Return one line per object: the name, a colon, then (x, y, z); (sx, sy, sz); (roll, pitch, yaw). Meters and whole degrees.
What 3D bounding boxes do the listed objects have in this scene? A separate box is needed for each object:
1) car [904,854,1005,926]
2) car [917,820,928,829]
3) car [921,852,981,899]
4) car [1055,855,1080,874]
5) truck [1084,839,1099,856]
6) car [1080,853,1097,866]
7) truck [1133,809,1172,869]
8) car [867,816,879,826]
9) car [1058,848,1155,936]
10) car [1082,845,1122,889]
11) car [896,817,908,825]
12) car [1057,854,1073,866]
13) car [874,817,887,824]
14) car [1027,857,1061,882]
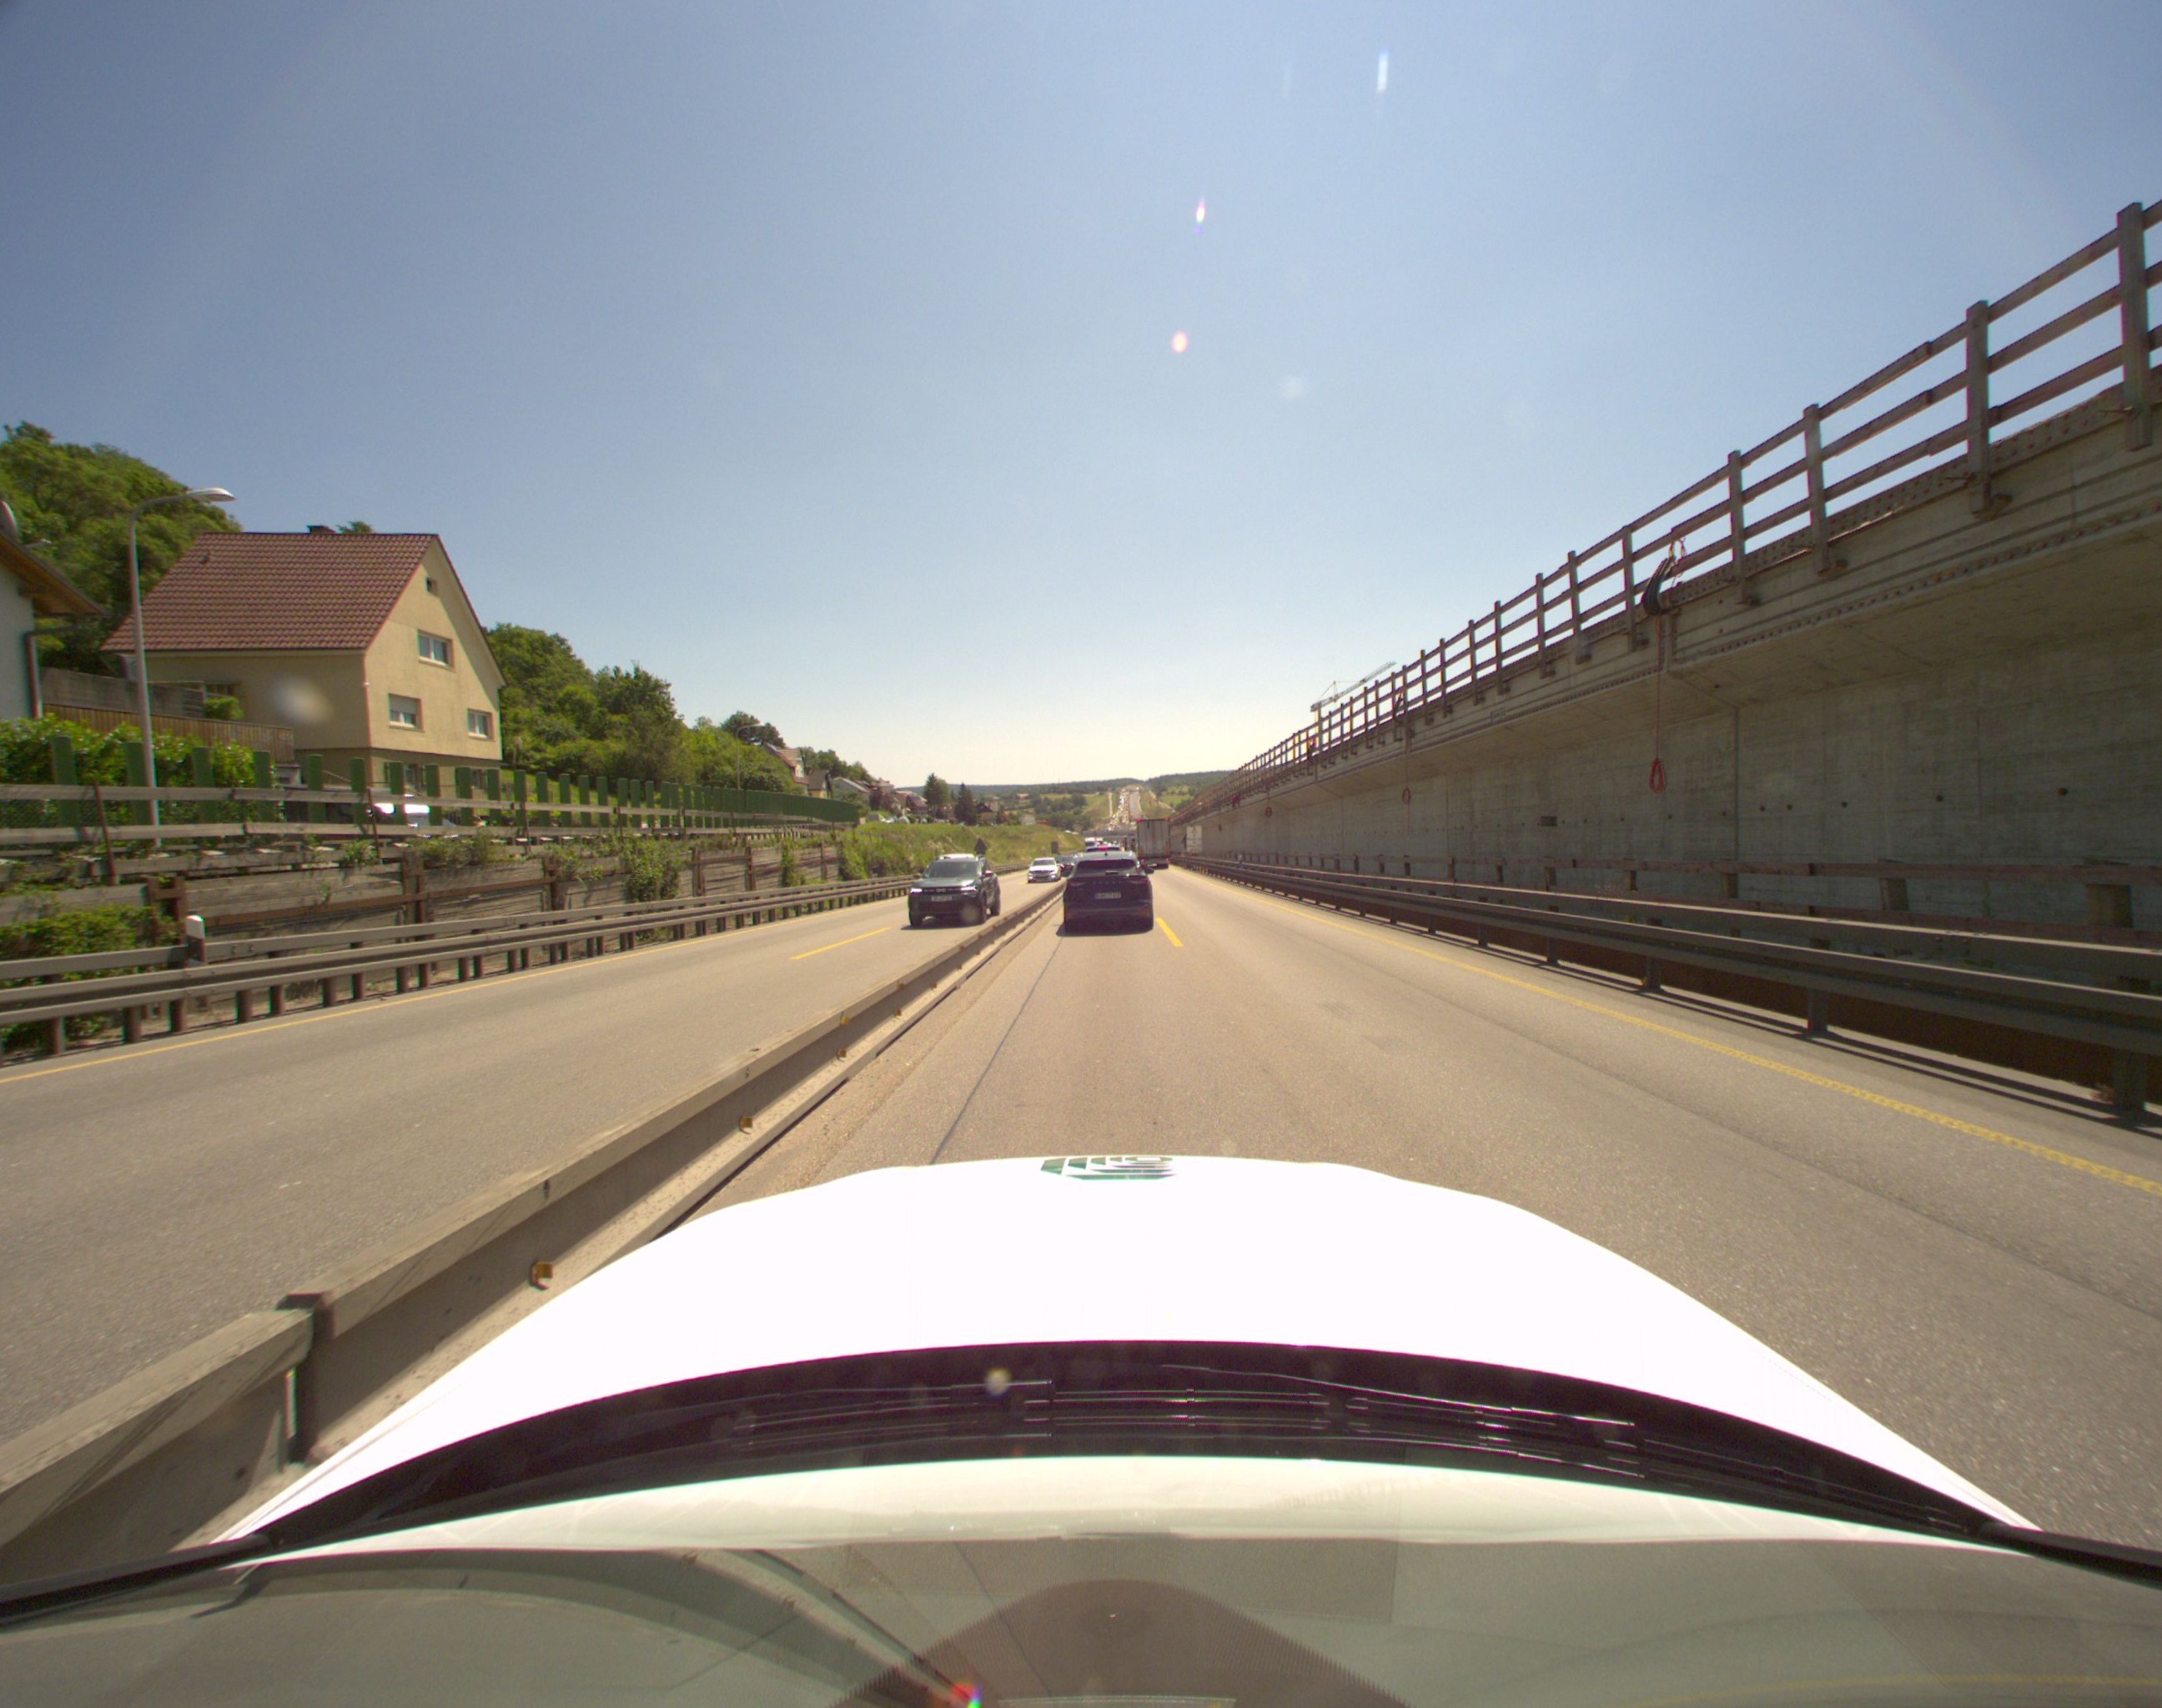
car: (-3.128, 0.838, 20.948); (1.768, 1.633, 4.102); (-1, 0, 2)
car: (-34.266, -6.445, 176.288); (1.924, 1.728, 3.989); (-3, 0, -8)
car: (-5.593, 0.892, 35.607); (1.590, 1.834, 4.755); (-3, -1, 2)
car: (-1.121, 0.900, 70.304); (1.598, 1.446, 4.676); (-5, -1, 5)
truck: (2.764, -1.708, 210.502); (3.175, 4.238, 6.474); (-2, -1, -5)
car: (0.949, 0.655, 97.903); (1.836, 1.530, 4.296); (-2, -1, 2)
truck: (5.928, -1.099, 69.404); (2.834, 4.615, 11.820); (-2, -1, 3)
car: (-31.924, -5.091, 125.011); (1.731, 1.398, 3.780); (-1, 0, -16)
car: (0.542, 0.735, 17.513); (1.776, 1.597, 3.756); (-3, 0, 1)
car: (0.933, 0.554, 37.137); (1.743, 1.895, 3.755); (0, 0, 0)
car: (-34.361, -6.426, 156.640); (1.992, 1.320, 3.988); (1, -1, -8)
car: (-2.029, 0.753, 103.112); (1.807, 1.448, 5.008); (-1, -1, 1)
car: (-31.880, -5.305, 129.470); (1.277, 1.038, 3.271); (-3, 0, -3)
car: (-2.164, 0.903, 48.522); (1.726, 1.437, 4.260); (-1, -1, 1)
